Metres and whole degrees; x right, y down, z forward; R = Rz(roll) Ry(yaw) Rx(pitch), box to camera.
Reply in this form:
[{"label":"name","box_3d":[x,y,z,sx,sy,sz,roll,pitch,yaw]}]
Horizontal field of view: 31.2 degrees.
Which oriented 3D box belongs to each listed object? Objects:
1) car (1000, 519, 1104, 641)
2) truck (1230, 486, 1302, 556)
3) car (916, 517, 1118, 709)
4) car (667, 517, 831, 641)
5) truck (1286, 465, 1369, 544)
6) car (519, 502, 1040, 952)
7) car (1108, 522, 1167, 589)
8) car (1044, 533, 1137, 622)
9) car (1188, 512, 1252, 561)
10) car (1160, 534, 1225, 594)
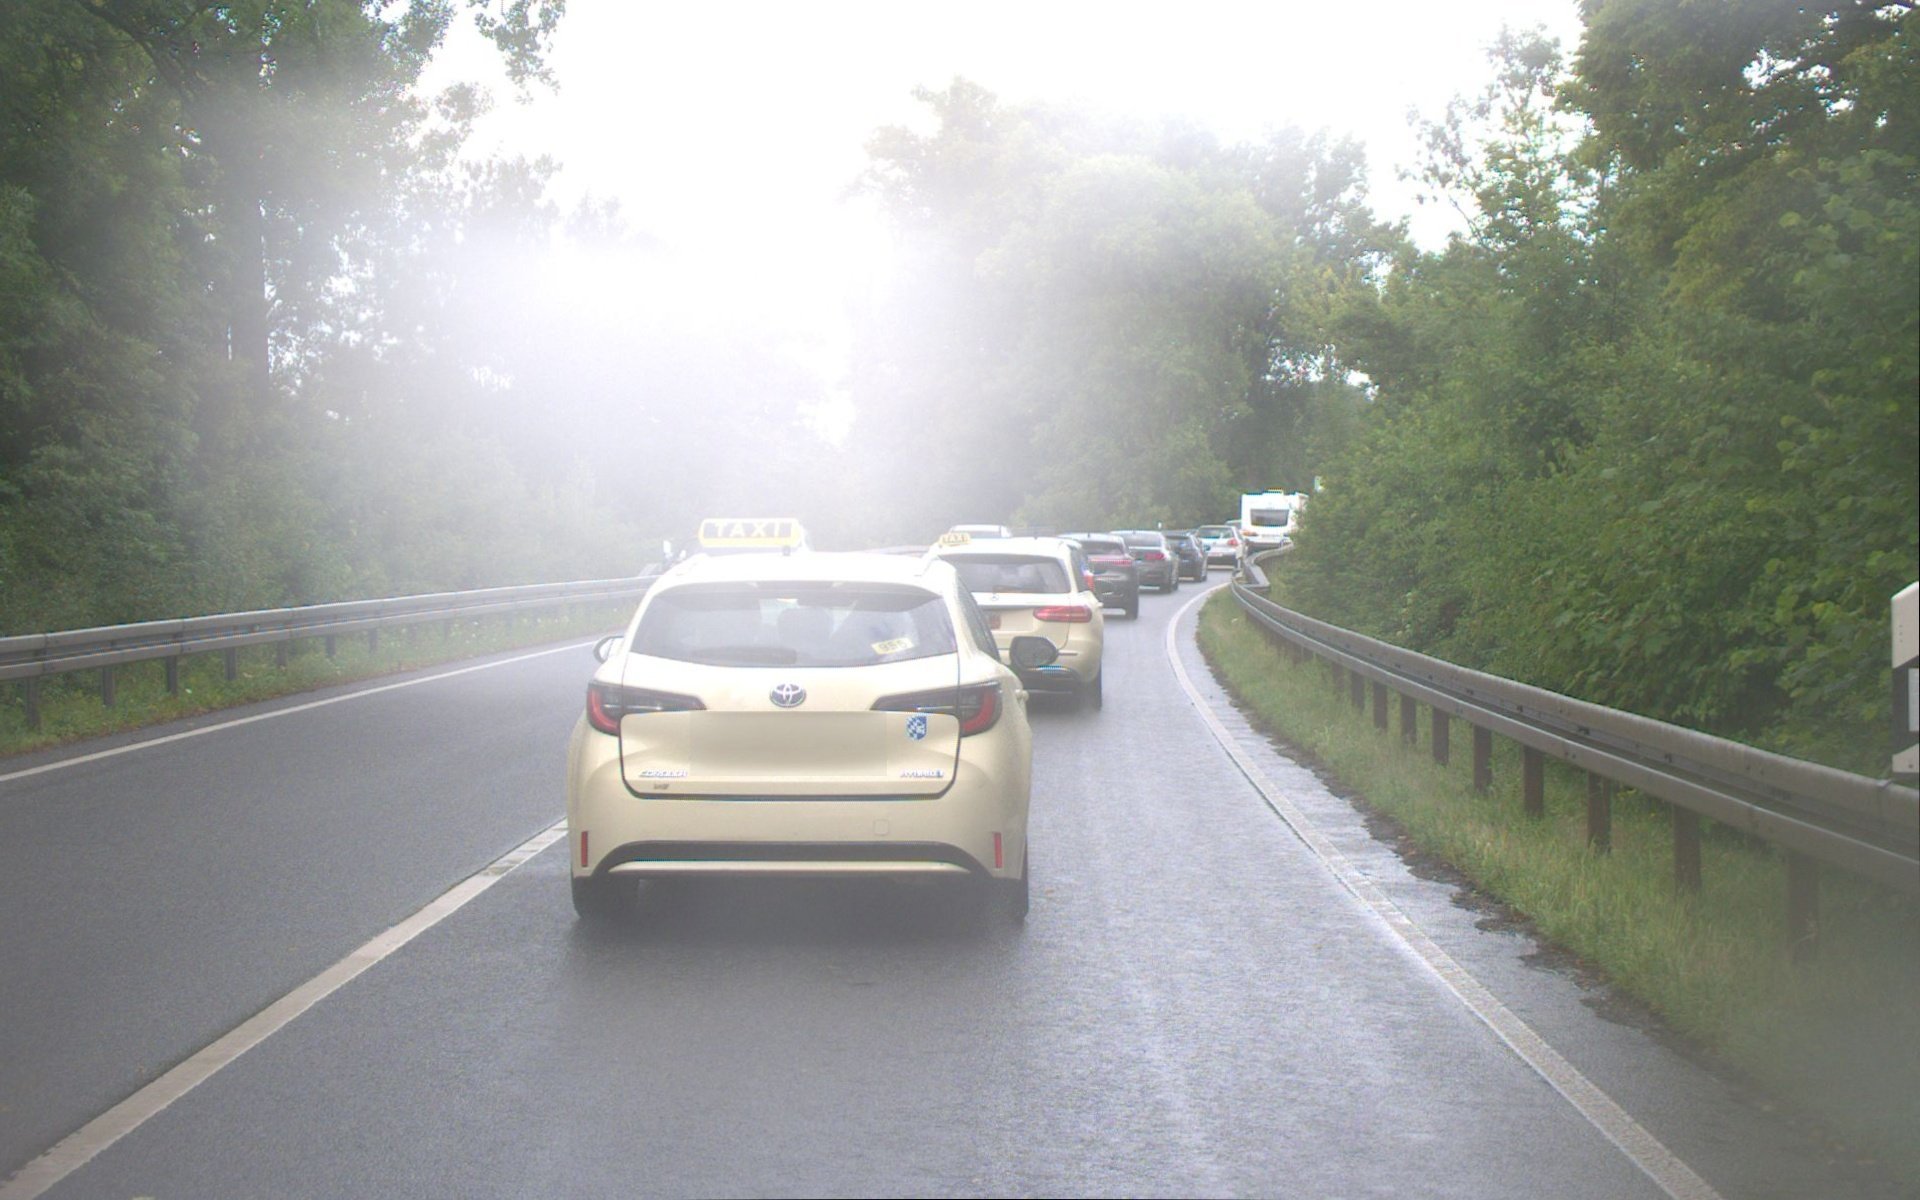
[{"label":"car","box_3d":[1.218,-0.263,45.463,1.300,1.541,3.260,1,0,2]},{"label":"truck","box_3d":[12.435,-3.188,140.258,2.550,2.704,7.534,1,0,2]},{"label":"car","box_3d":[0.517,0.101,30.540,1.667,1.575,3.892,1,0,1]},{"label":"car","box_3d":[-2.681,-0.302,44.436,1.807,1.527,4.206,0,1,1]},{"label":"truck","box_3d":[18.157,-4.679,169.577,3.109,3.668,6.995,1,0,14]},{"label":"car","box_3d":[-0.618,0.440,14.313,1.834,1.575,4.156,1,0,1]},{"label":"car","box_3d":[4.192,-1.037,80.925,1.167,1.541,2.603,1,0,7]},{"label":"car","box_3d":[2.330,-0.376,61.466,1.611,1.541,3.813,0,0,2]},{"label":"car","box_3d":[8.644,-2.100,114.065,1.770,1.541,3.812,1,0,9]},{"label":"car","box_3d":[6.445,-0.985,95.087,1.616,1.607,3.621,1,0,6]}]
